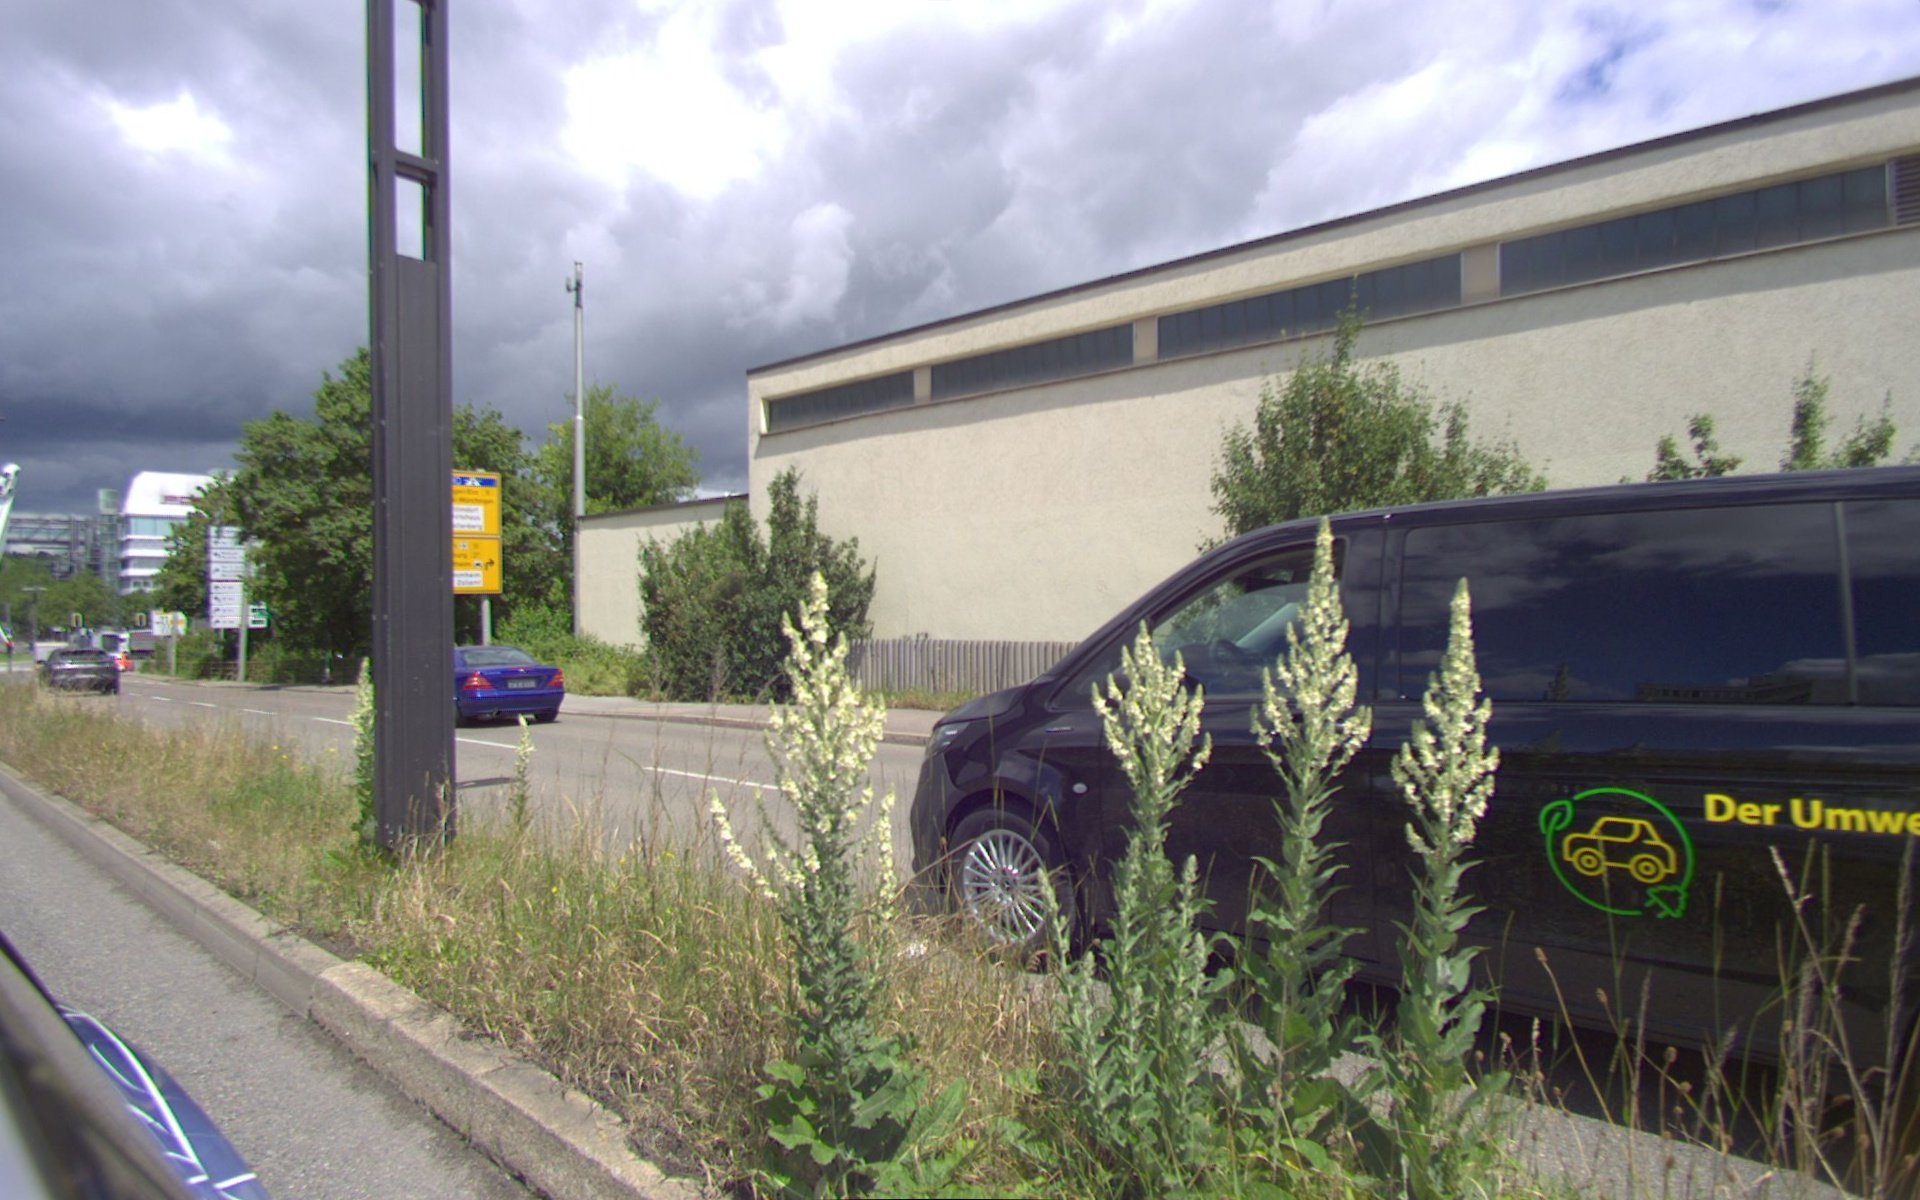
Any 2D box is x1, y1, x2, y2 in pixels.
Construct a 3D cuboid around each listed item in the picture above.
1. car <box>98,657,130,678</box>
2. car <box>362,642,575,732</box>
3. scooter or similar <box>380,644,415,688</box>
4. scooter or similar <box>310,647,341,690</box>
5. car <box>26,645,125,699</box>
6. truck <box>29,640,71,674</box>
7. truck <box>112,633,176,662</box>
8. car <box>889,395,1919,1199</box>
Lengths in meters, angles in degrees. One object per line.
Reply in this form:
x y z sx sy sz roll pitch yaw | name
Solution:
-87.601 6.993 104.836 1.966 1.973 4.641 -1 -2 -32 | car
-8.176 1.352 16.685 3.998 1.285 1.736 -2 -3 41 | car
-16.381 1.915 29.475 0.485 1.225 1.644 0 -3 -44 | scooter or similar
-20.582 2.224 32.811 0.486 1.314 1.644 -3 -1 -44 | scooter or similar
-29.224 2.350 33.393 4.441 1.639 1.858 -3 -3 41 | car
-89.132 5.625 99.212 2.820 2.879 9.389 -1 -4 -41 | truck
-116.380 6.756 144.314 8.907 3.594 2.350 -4 -1 16 | truck
2.202 0.498 3.643 4.863 1.903 1.974 -2 -1 39 | car
